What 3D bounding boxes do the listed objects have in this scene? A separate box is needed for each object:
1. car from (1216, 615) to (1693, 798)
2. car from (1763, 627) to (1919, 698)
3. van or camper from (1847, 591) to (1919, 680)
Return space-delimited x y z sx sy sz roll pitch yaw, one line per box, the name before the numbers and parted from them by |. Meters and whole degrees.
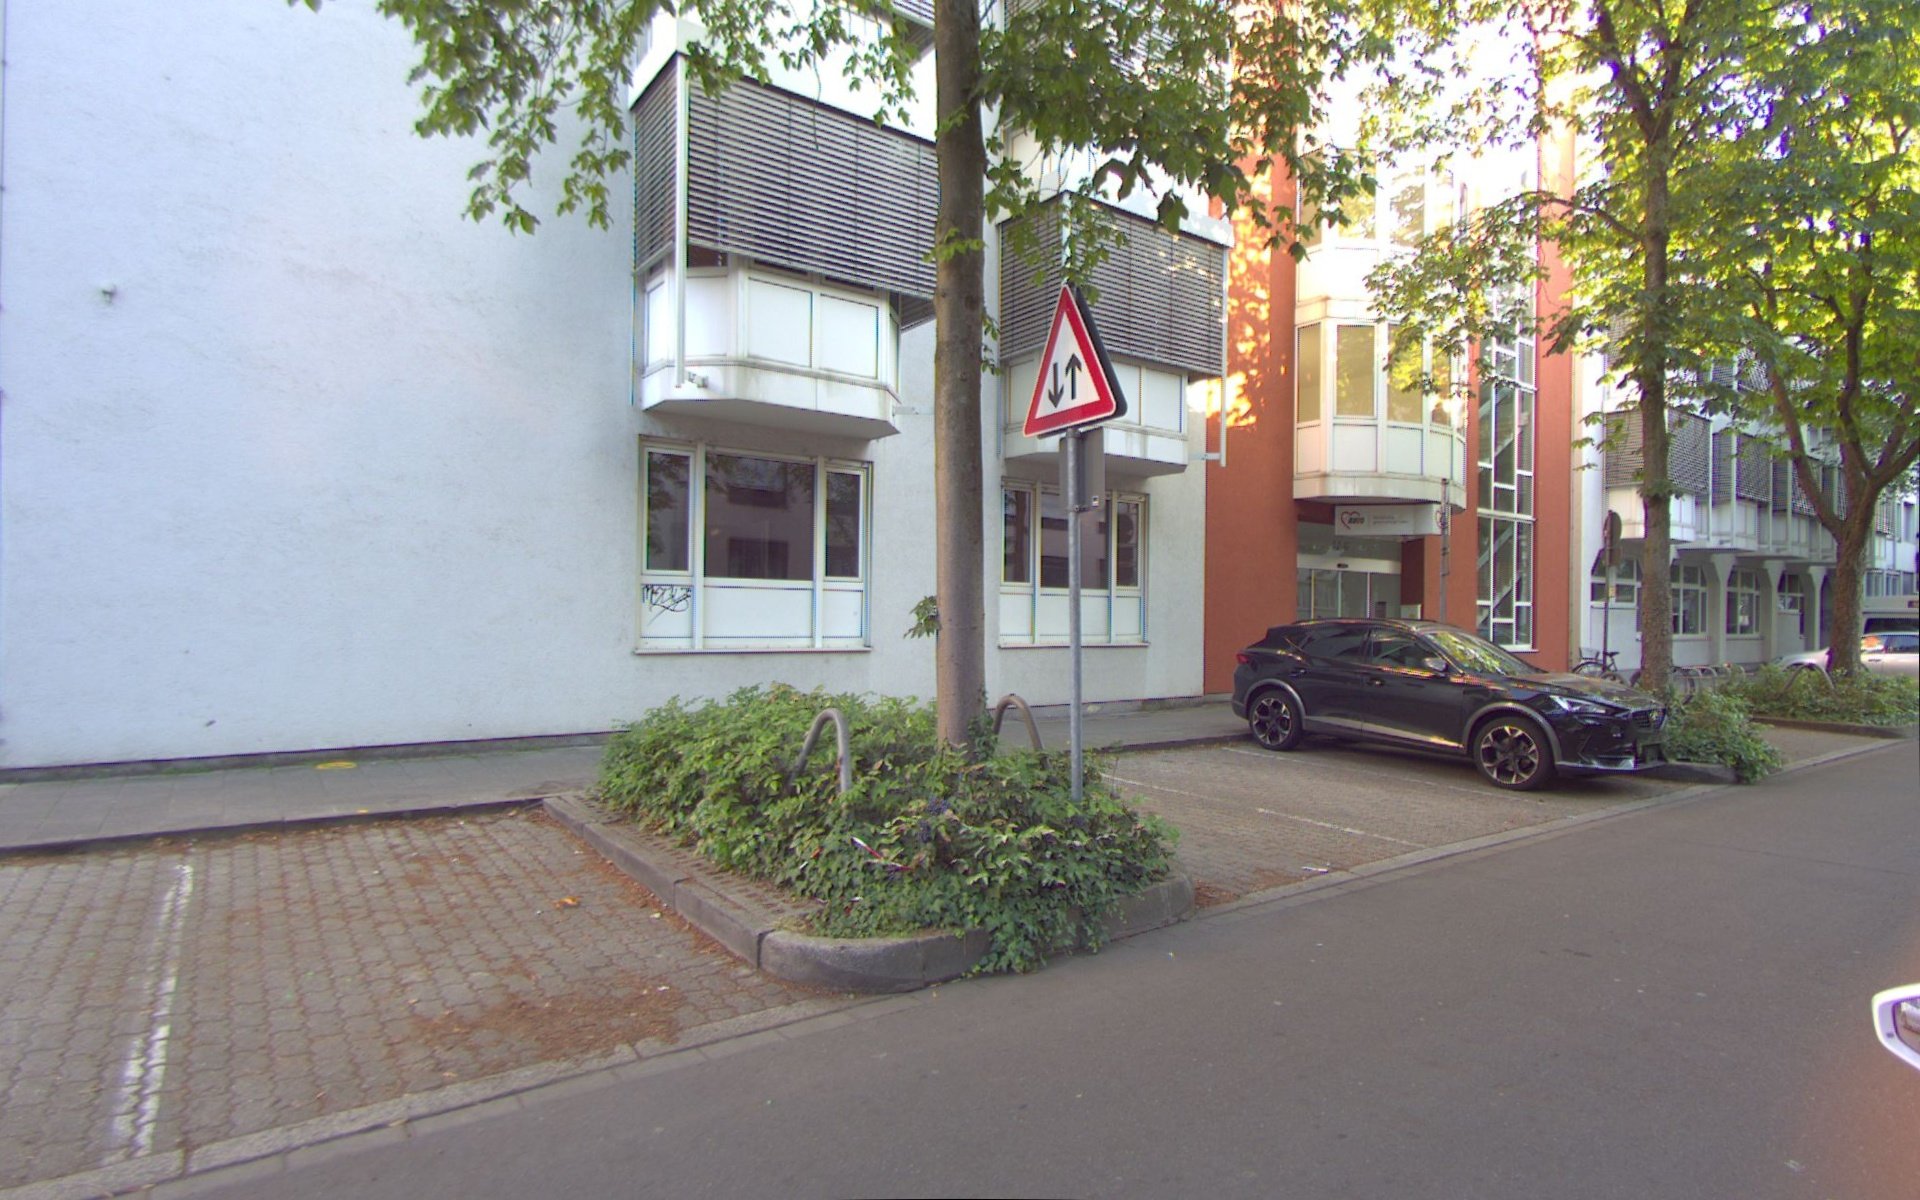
car | 5.042 0.946 10.835 1.768 1.537 4.325 1 -1 -35
car | 21.488 1.427 23.461 1.767 1.537 3.942 1 -1 -35
van or camper | 28.229 1.022 28.261 1.981 2.511 4.632 1 -1 -36
